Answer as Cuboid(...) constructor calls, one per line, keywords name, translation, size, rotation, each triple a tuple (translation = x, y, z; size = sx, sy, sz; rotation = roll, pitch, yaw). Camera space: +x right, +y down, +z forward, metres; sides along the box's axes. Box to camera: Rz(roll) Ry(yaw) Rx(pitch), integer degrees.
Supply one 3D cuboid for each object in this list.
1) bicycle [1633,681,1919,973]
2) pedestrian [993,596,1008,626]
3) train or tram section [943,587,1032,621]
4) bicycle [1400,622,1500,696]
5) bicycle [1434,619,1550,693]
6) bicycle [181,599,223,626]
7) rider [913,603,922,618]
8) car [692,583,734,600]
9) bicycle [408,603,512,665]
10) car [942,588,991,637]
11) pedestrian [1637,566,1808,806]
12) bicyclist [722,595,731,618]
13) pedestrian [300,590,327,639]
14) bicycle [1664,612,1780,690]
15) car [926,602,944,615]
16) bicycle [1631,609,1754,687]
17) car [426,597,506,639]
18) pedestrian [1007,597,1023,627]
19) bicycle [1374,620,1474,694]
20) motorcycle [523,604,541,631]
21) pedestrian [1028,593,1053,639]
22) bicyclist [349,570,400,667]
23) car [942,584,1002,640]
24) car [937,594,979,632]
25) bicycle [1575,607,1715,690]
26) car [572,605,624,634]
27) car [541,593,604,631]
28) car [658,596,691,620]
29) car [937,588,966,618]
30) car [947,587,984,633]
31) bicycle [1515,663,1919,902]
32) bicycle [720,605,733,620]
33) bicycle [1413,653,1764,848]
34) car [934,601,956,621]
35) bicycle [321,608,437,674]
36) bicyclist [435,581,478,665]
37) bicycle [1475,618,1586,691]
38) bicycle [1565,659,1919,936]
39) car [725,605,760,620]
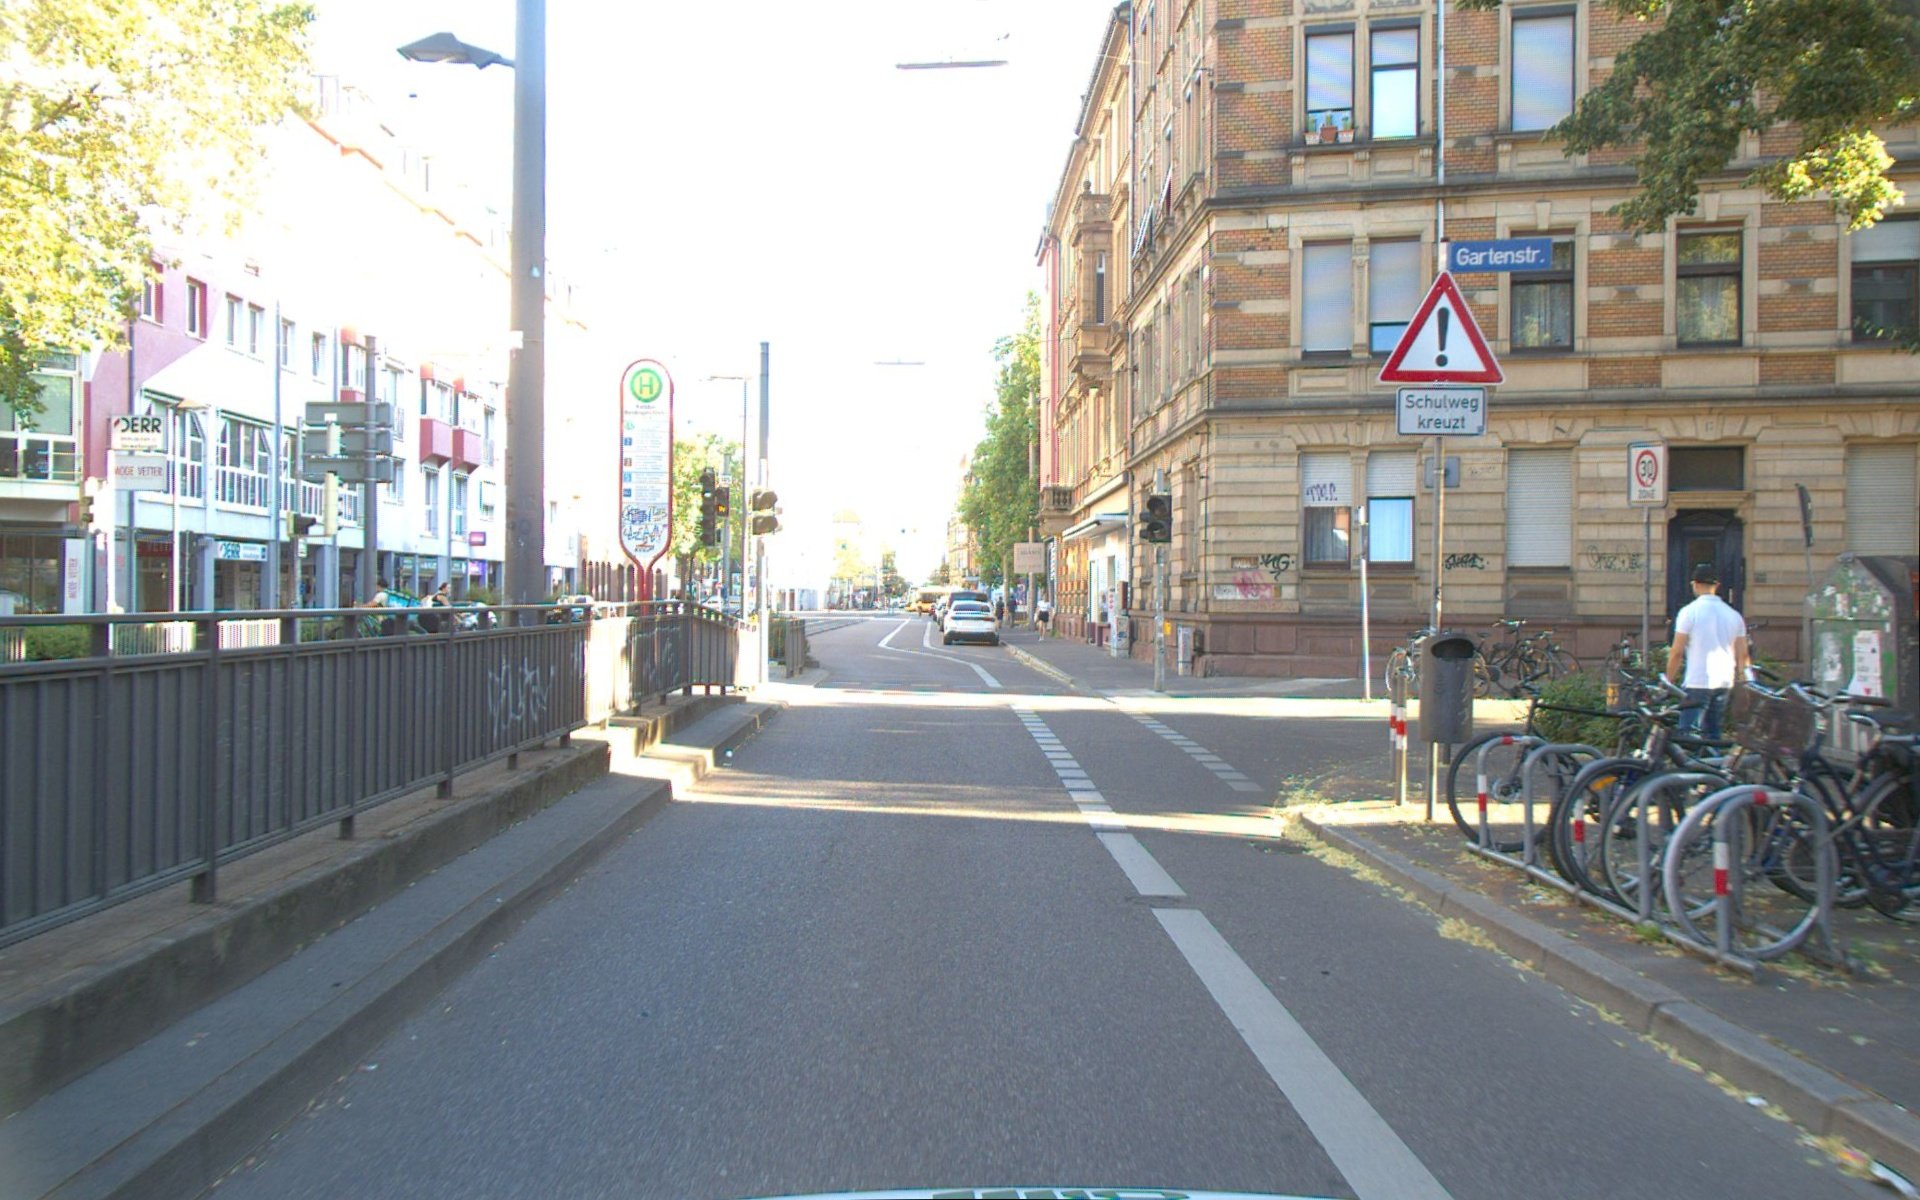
Cuboid(name="bicycle", translation=(3.773, 0.882, 6.650), size=(1.875, 1.066, 0.680), rotation=(1, 0, -5))
Cuboid(name="pedestrian", translation=(2.219, 0.612, 91.116), size=(0.760, 1.594, 0.913), rotation=(-3, 0, 0))
Cuboid(name="train or tram section", translation=(3.824, 0.588, 228.358), size=(11.835, 4.029, 2.693), rotation=(3, -1, -11))
Cuboid(name="bicycle", translation=(7.412, 0.870, 25.098), size=(0.410, 1.042, 1.897), rotation=(1, 0, -20))
Cuboid(name="bicycle", translation=(8.109, 0.829, 25.293), size=(0.457, 1.058, 1.889), rotation=(1, 0, -29))
Cuboid(name="bicycle", translation=(-20.208, 0.323, 44.138), size=(0.447, 0.670, 1.808), rotation=(3, 0, -6))
Cuboid(name="rider", translation=(-4.419, 1.123, 171.895), size=(0.865, 1.507, 0.713), rotation=(2, -1, 0))
Cuboid(name="car", translation=(-25.712, -0.872, 172.112), size=(3.841, 1.655, 1.850), rotation=(1, 1, -38))
Cuboid(name="bicycle", translation=(-9.717, 0.661, 32.201), size=(1.861, 1.096, 0.582), rotation=(3, -1, -14))
Cuboid(name="car", translation=(0.268, 0.509, 69.051), size=(1.915, 1.901, 4.988), rotation=(2, 0, 0))
Cuboid(name="pedestrian", translation=(5.638, 0.602, 12.291), size=(0.767, 1.694, 1.033), rotation=(0, 1, -1))
Cuboid(name="bicyclist", translation=(-17.958, 0.518, 127.030), size=(0.562, 1.742, 0.742), rotation=(-1, -1, -17))
Cuboid(name="pedestrian", translation=(-22.871, 0.507, 58.476), size=(0.728, 1.742, 0.615), rotation=(0, 0, -5))
Cuboid(name="bicycle", translation=(11.801, 0.775, 25.680), size=(0.398, 1.143, 1.895), rotation=(1, 0, -21))
Cuboid(name="car", translation=(-2.963, 0.971, 193.076), size=(2.024, 1.413, 4.224), rotation=(3, 0, -1))
Cuboid(name="bicycle", translation=(11.342, 0.721, 25.668), size=(0.439, 1.143, 1.941), rotation=(1, 0, -25))
Cuboid(name="car", translation=(-18.431, 0.647, 61.874), size=(1.832, 1.464, 4.703), rotation=(1, 0, -4))
Cuboid(name="pedestrian", translation=(3.008, 0.652, 91.056), size=(0.760, 1.594, 0.913), rotation=(-3, 0, 0))
Cuboid(name="bicycle", translation=(7.010, 0.849, 25.090), size=(0.444, 1.042, 1.897), rotation=(1, 0, -20))
Cuboid(name="motorcycle", translation=(-20.285, 0.821, 78.429), size=(0.659, 1.226, 2.130), rotation=(2, -1, -18))
Cuboid(name="pedestrian", translation=(2.820, 0.558, 58.057), size=(0.760, 1.594, 0.914), rotation=(-3, 0, 2))
Cuboid(name="bicyclist", translation=(-10.631, 0.330, 30.039), size=(0.728, 1.742, 0.533), rotation=(0, 0, -2))
Cuboid(name="car", translation=(0.396, 0.414, 57.090), size=(1.926, 1.802, 4.874), rotation=(2, 0, 0))
Cuboid(name="car", translation=(-0.152, 0.677, 85.148), size=(1.910, 1.819, 5.179), rotation=(2, 0, -2))
Cuboid(name="bicycle", translation=(10.433, 0.717, 25.267), size=(0.606, 1.203, 2.088), rotation=(1, 0, -27))
Cuboid(name="car", translation=(-19.195, 1.043, 87.819), size=(1.831, 1.476, 3.584), rotation=(1, -1, 2))
Cuboid(name="car", translation=(-18.771, 0.616, 80.339), size=(2.049, 1.743, 4.816), rotation=(2, -1, -2))
Cuboid(name="car", translation=(-19.690, 0.558, 114.211), size=(1.832, 1.628, 4.251), rotation=(1, 0, -4))
Cuboid(name="car", translation=(-0.587, 0.220, 114.795), size=(1.931, 2.049, 4.557), rotation=(-1, 0, 0))
Cuboid(name="car", translation=(0.272, 0.490, 79.658), size=(1.670, 2.157, 3.707), rotation=(1, -1, 2))
Cuboid(name="bicycle", translation=(3.715, 0.862, 8.035), size=(1.797, 1.072, 0.717), rotation=(1, 0, -5))
Cuboid(name="bicycle", translation=(-17.964, 0.989, 127.144), size=(0.573, 1.096, 2.174), rotation=(-1, 0, -17))
Cuboid(name="bicycle", translation=(3.658, 0.865, 9.708), size=(1.797, 1.072, 0.710), rotation=(1, 0, -5))
Cuboid(name="car", translation=(-1.218, 0.893, 133.541), size=(1.688, 1.595, 4.081), rotation=(0, 0, -2))
Cuboid(name="bicycle", translation=(-10.545, 0.747, 30.057), size=(1.855, 1.096, 0.584), rotation=(3, -1, -3))
Cuboid(name="bicyclist", translation=(-9.798, 0.441, 32.202), size=(0.730, 1.605, 0.532), rotation=(2, -1, -13))
Cuboid(name="bicycle", translation=(8.667, 0.814, 25.214), size=(0.488, 1.042, 1.895), rotation=(1, 0, -21))
Cuboid(name="bicycle", translation=(3.740, 0.840, 7.306), size=(1.931, 1.124, 0.614), rotation=(0, 0, -5))
Cuboid(name="car", translation=(-23.861, 1.348, 181.610), size=(3.487, 1.507, 1.564), rotation=(3, -1, -34))
